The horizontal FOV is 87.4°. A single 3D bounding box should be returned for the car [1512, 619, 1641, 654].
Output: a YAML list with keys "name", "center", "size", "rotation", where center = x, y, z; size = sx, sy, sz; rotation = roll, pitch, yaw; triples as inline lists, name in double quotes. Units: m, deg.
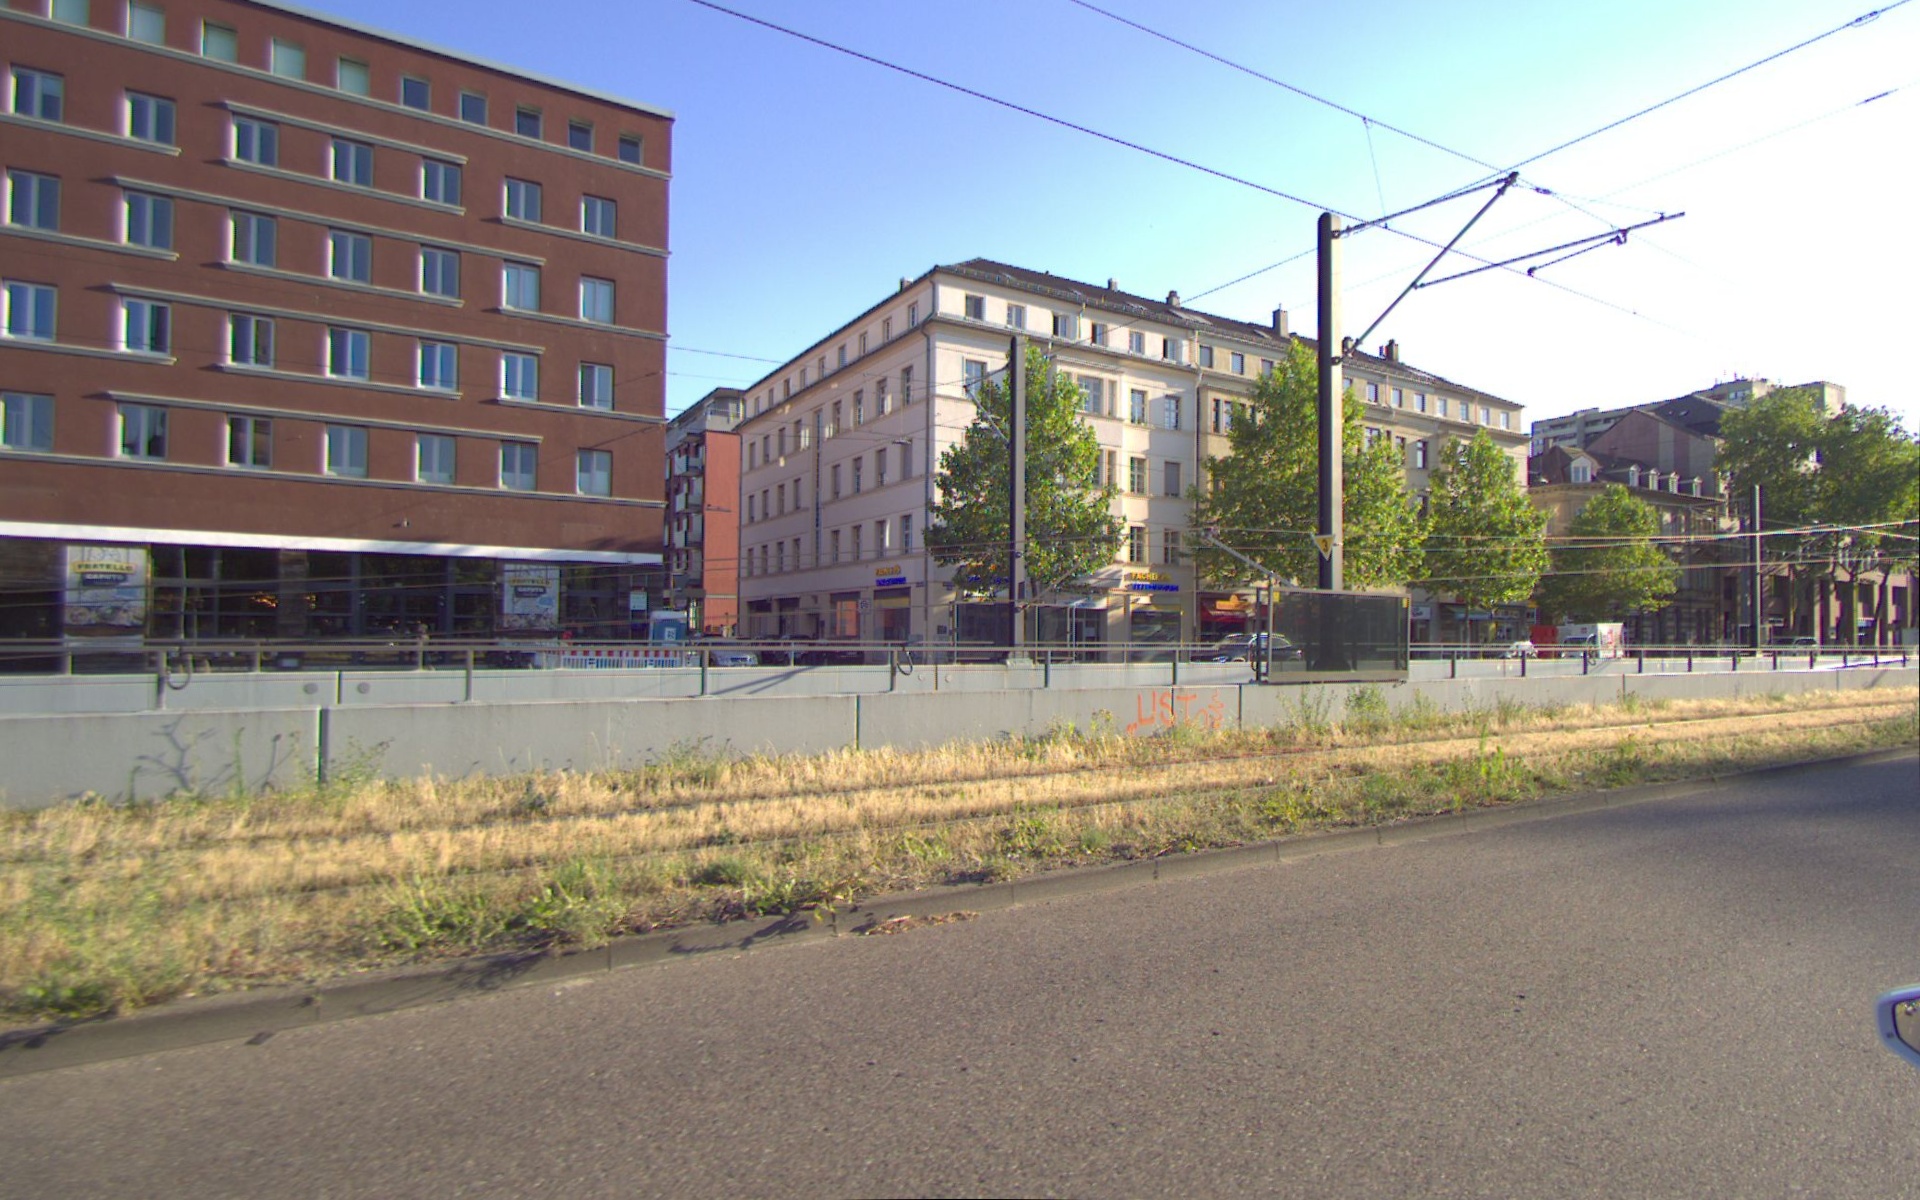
- name: "car"
  center: [42.381, 2.508, 69.290]
  size: [2.446, 2.296, 7.219]
  rotation: [2, -3, -35]

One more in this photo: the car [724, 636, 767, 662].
- name: "car"
  center: [-12.795, 2.886, 59.748]
  size: [1.436, 1.514, 3.845]
  rotation: [1, -2, -29]

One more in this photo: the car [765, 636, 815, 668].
- name: "car"
  center: [-8.710, 2.616, 51.303]
  size: [1.530, 1.567, 3.509]
  rotation: [1, -2, -28]

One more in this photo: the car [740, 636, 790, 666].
- name: "car"
  center: [-10.744, 2.788, 55.222]
  size: [1.531, 1.567, 3.970]
  rotation: [1, -2, -29]

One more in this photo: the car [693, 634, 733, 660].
- name: "car"
  center: [-15.766, 2.956, 64.032]
  size: [1.538, 1.580, 3.807]
  rotation: [2, -3, -29]

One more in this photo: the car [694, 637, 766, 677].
- name: "car"
  center: [-9.369, 2.278, 40.772]
  size: [1.875, 1.505, 3.971]
  rotation: [1, -2, -28]

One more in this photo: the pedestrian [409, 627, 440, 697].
- name: "pedestrian"
  center: [-16.113, 1.851, 30.226]
  size: [0.763, 2.040, 0.695]
  rotation: [1, -2, -30]

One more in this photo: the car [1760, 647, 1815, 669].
- name: "car"
  center: [62.152, 4.344, 75.436]
  size: [4.681, 1.605, 1.751]
  rotation: [2, -2, -31]

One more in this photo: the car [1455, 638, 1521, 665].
- name: "car"
  center: [28.854, 2.836, 54.898]
  size: [3.666, 1.350, 1.447]
  rotation: [2, 0, -30]

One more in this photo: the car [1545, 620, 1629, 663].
- name: "car"
  center: [33.052, 2.181, 52.944]
  size: [4.521, 2.162, 1.943]
  rotation: [1, -2, -31]

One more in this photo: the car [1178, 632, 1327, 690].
- name: "car"
  center: [9.878, 2.018, 33.831]
  size: [4.918, 1.843, 1.985]
  rotation: [1, -2, -29]
